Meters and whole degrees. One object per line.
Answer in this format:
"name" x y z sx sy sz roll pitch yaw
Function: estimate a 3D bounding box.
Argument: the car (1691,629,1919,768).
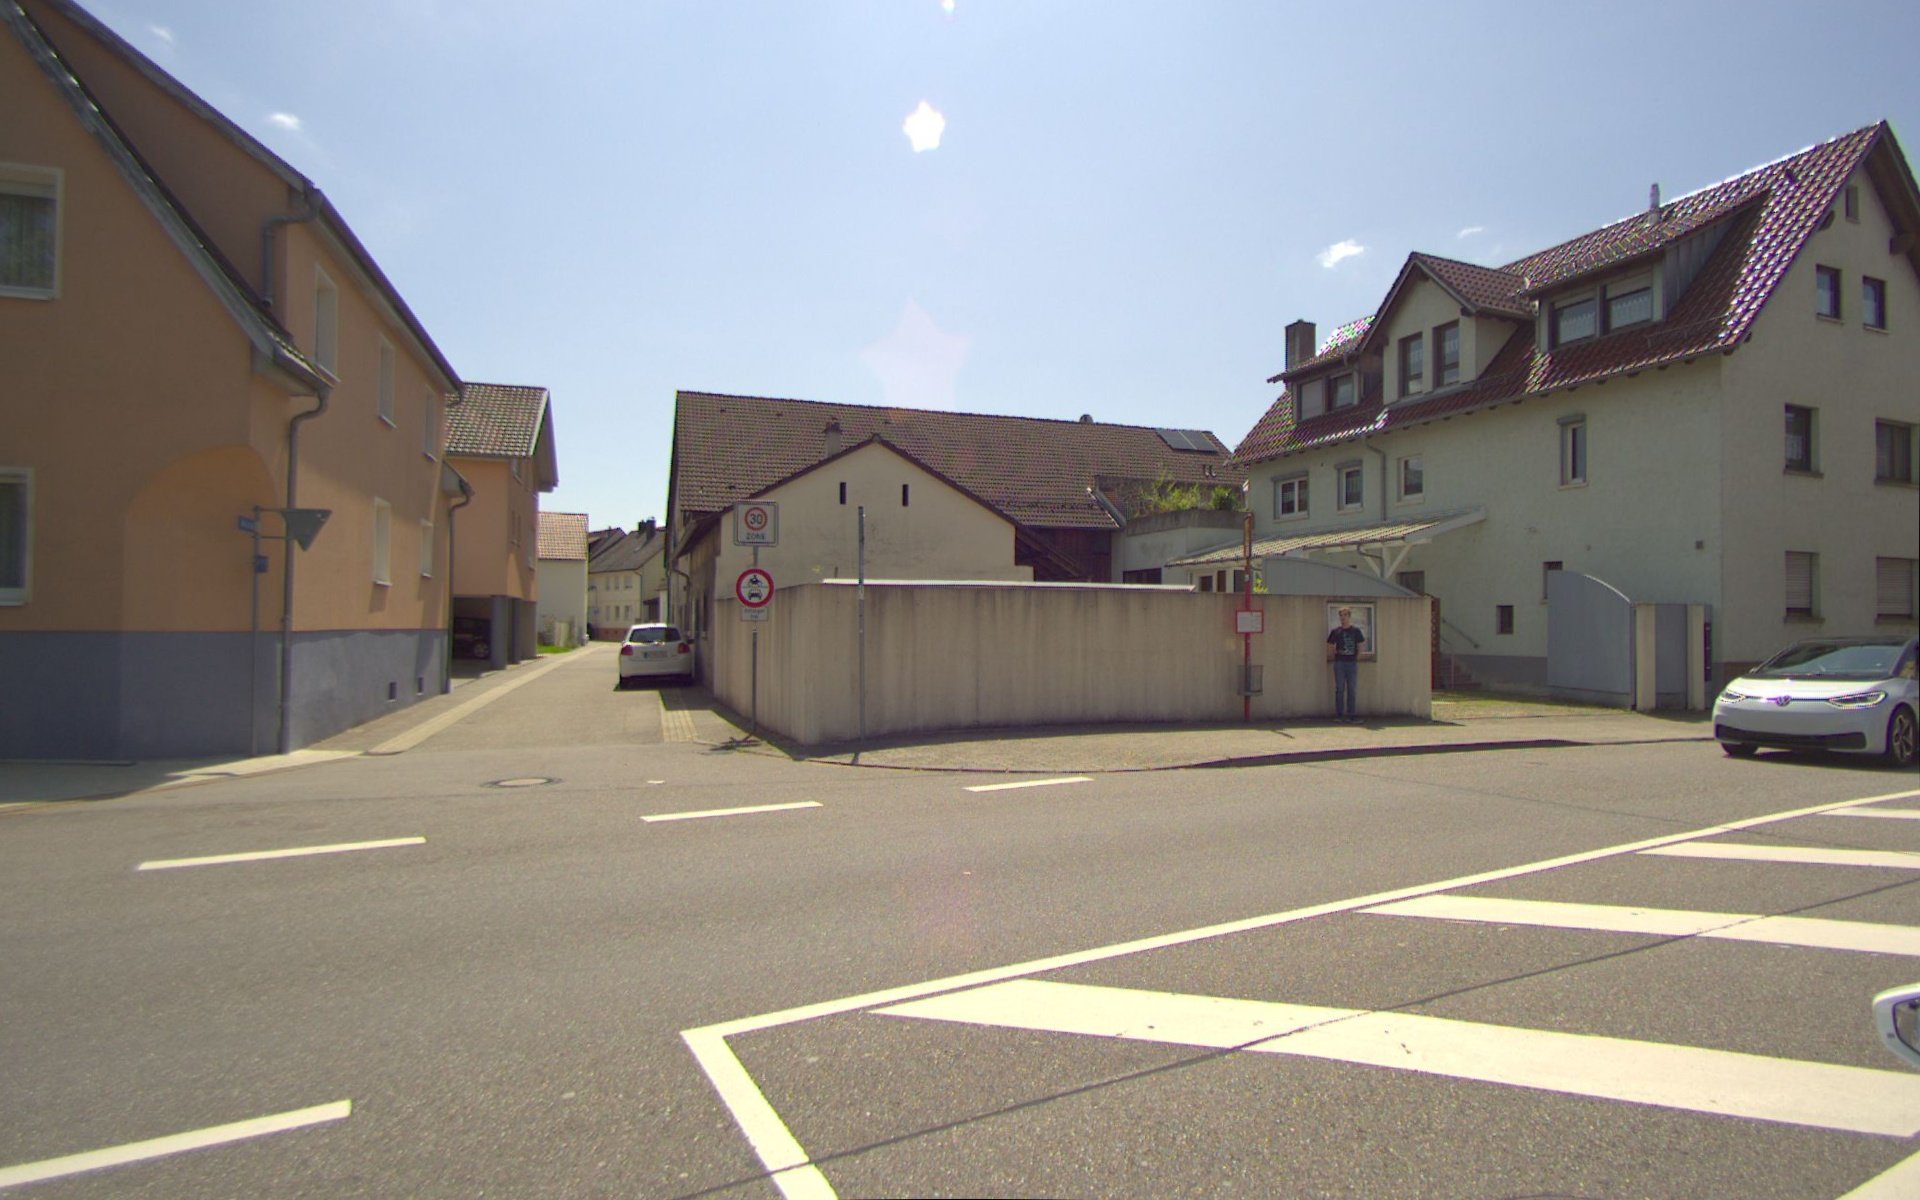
"car" 11.480 1.187 12.794 4.078 1.527 1.790 2 -3 -26

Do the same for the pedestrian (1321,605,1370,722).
"pedestrian" 5.964 0.975 15.542 0.547 1.788 0.434 0 -2 -11

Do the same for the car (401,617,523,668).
"car" -19.211 1.663 38.958 3.939 1.862 1.992 2 -3 -20

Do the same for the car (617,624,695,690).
"car" -7.834 1.387 25.813 1.780 1.483 3.984 -1 -1 -18
